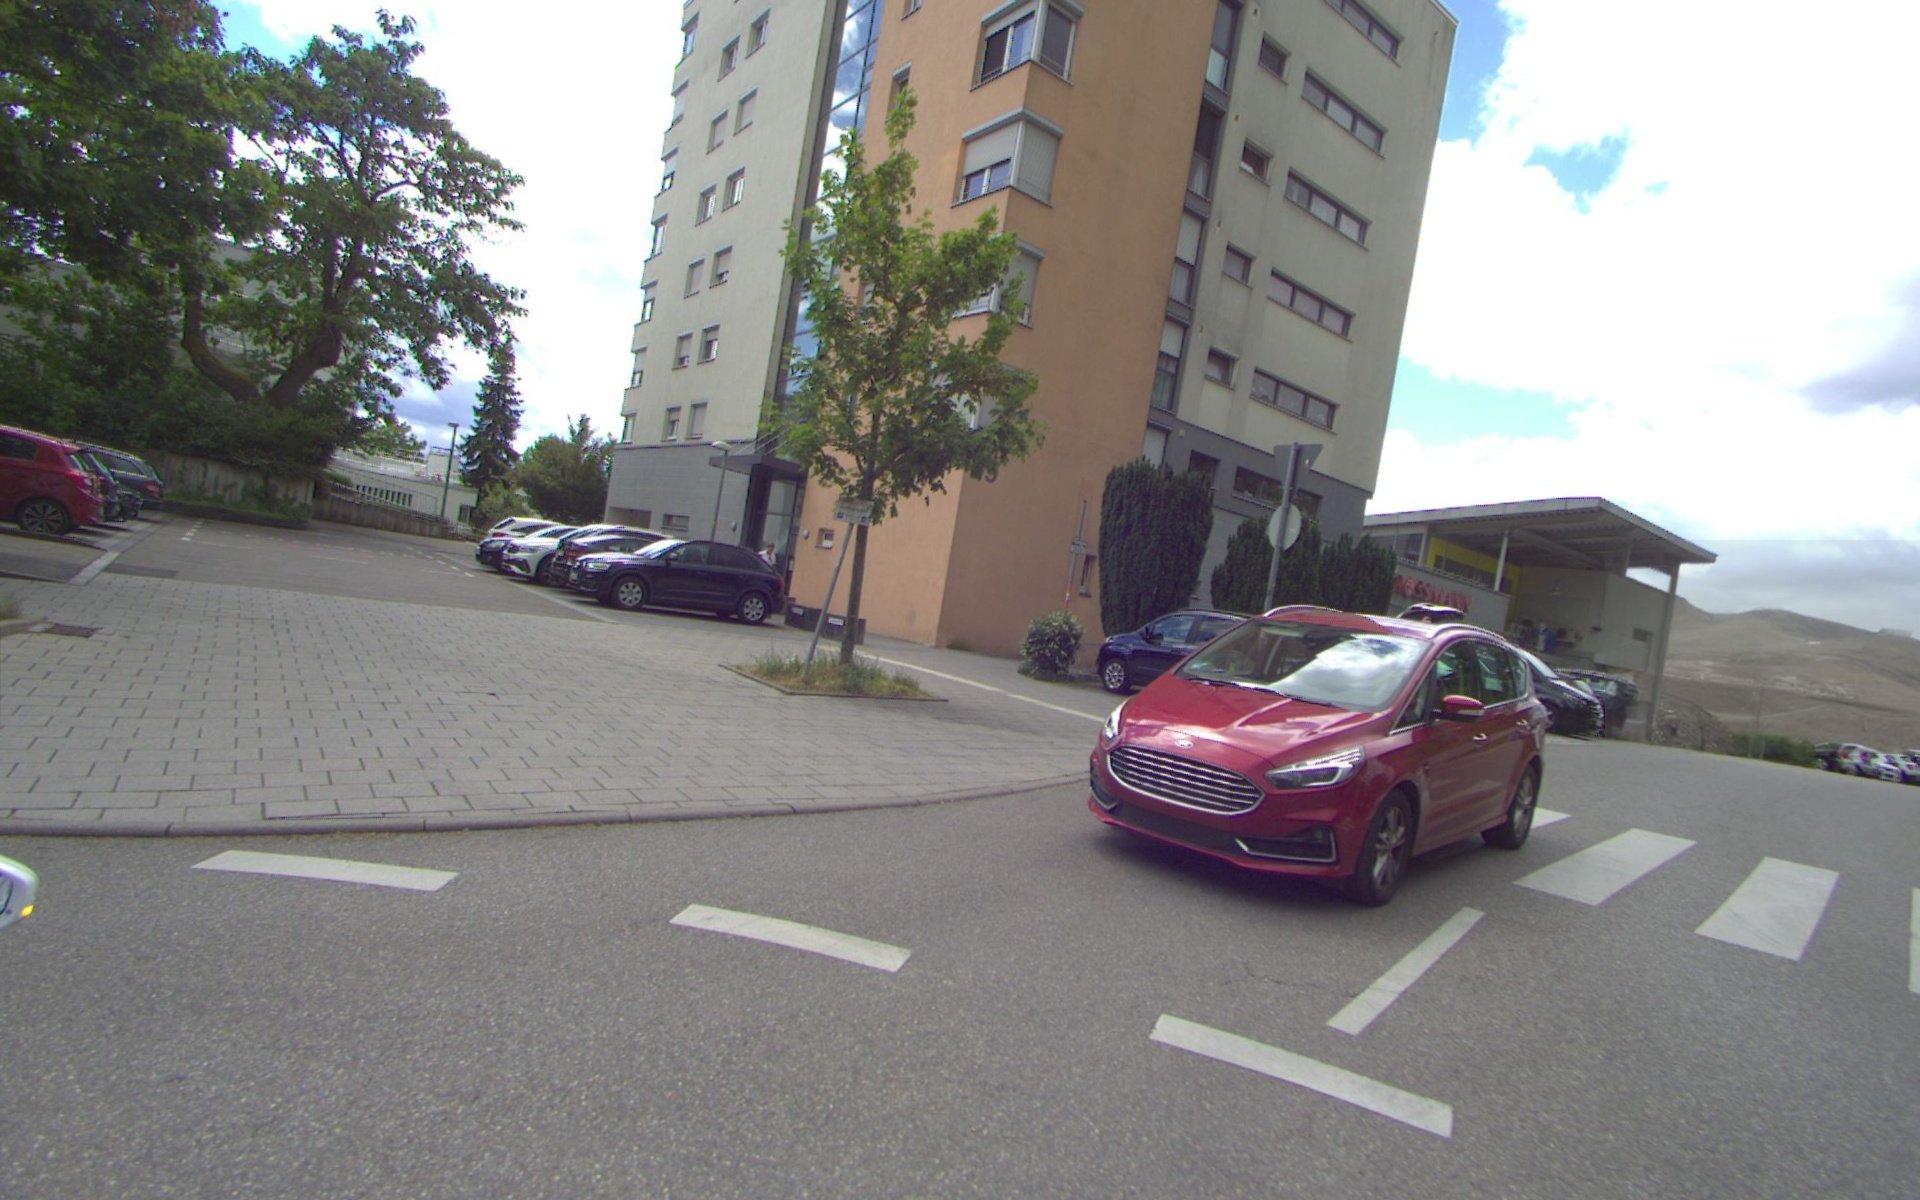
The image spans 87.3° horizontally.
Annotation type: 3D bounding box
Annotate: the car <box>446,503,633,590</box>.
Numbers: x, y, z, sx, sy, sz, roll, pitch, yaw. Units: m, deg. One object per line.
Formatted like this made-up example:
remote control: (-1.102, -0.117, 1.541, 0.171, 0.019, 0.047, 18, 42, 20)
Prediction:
car: (-10.736, -1.337, 25.762, 4.019, 1.535, 1.739, 9, -1, -35)

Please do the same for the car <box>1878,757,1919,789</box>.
car: (56.710, 10.376, 59.138, 1.628, 1.501, 3.737, 6, 1, -38)

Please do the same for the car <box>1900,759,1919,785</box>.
car: (62.698, 11.273, 64.170, 1.628, 1.462, 3.737, 6, 1, -38)

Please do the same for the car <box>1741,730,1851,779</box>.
car: (35.426, 6.516, 42.679, 1.497, 1.408, 3.263, 6, 1, -38)

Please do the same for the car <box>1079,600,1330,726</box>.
car: (3.726, 0.904, 15.740, 1.493, 1.496, 3.484, 2, 3, -42)

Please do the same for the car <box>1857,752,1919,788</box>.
car: (51.045, 9.283, 54.548, 1.497, 1.408, 3.263, 6, 1, -38)

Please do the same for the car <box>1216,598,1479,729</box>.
car: (6.385, 1.004, 16.929, 1.560, 1.680, 3.737, 6, 1, -38)

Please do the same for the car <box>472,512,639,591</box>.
car: (-11.388, -1.353, 28.394, 3.959, 1.535, 1.740, 9, -1, -35)

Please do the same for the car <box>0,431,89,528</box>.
car: (-17.898, -2.351, 17.740, 3.636, 1.515, 1.666, 9, -1, -40)

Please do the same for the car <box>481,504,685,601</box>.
car: (-8.931, -1.100, 24.045, 4.107, 1.612, 1.673, 10, -1, -42)

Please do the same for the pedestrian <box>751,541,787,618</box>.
pedestrian: (-4.897, -0.529, 25.807, 0.500, 1.875, 0.477, 8, 0, 43)

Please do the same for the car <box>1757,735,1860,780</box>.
car: (38.891, 7.177, 46.167, 1.497, 1.408, 3.263, 6, 1, -38)

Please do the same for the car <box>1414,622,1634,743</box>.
car: (13.205, 1.897, 23.757, 1.816, 2.186, 3.935, 9, -1, -38)

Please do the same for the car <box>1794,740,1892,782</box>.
car: (42.880, 7.784, 48.917, 1.497, 1.408, 3.263, 6, 1, -38)

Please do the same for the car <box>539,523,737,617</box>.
car: (-7.200, -0.658, 22.636, 3.806, 1.476, 1.677, 9, -1, -35)

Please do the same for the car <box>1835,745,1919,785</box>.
car: (48.571, 8.681, 53.108, 1.497, 1.408, 3.263, 6, 1, -38)

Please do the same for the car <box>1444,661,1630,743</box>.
car: (14.829, 2.600, 26.012, 1.628, 1.501, 3.737, 6, 1, -38)

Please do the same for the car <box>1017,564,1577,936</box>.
car: (2.678, 0.867, 7.212, 1.953, 1.666, 4.510, 9, 2, 43)

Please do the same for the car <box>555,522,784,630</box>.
car: (-5.874, -0.470, 20.534, 4.019, 1.535, 1.739, 9, -1, -35)

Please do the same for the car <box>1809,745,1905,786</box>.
car: (44.754, 8.228, 50.241, 1.497, 1.408, 3.263, 6, 1, -38)

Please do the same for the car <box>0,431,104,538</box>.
car: (-15.768, -2.015, 15.484, 3.773, 1.438, 1.666, 9, -1, -40)

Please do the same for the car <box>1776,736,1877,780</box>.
car: (40.751, 7.396, 47.350, 1.497, 1.408, 3.263, 6, 1, -38)

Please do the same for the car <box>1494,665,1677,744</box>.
car: (16.640, 2.745, 26.908, 1.628, 1.501, 3.737, 6, 1, -38)

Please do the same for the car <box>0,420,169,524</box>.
car: (-20.376, -2.934, 22.056, 4.531, 1.687, 1.921, 10, -1, -42)

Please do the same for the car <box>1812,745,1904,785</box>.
car: (46.579, 8.550, 52.234, 1.497, 1.408, 3.263, 6, 1, -38)

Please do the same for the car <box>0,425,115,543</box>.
car: (-14.431, -1.853, 14.224, 3.636, 1.456, 1.666, 9, -1, -40)

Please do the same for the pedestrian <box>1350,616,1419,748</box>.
pedestrian: (6.192, 1.192, 14.667, 0.578, 1.834, 0.480, 8, 0, -36)

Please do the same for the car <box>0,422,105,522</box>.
car: (-19.340, -2.707, 19.555, 3.976, 1.632, 1.921, 10, -1, -42)

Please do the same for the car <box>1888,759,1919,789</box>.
car: (58.615, 10.698, 60.555, 1.628, 1.501, 3.737, 6, 1, -38)
